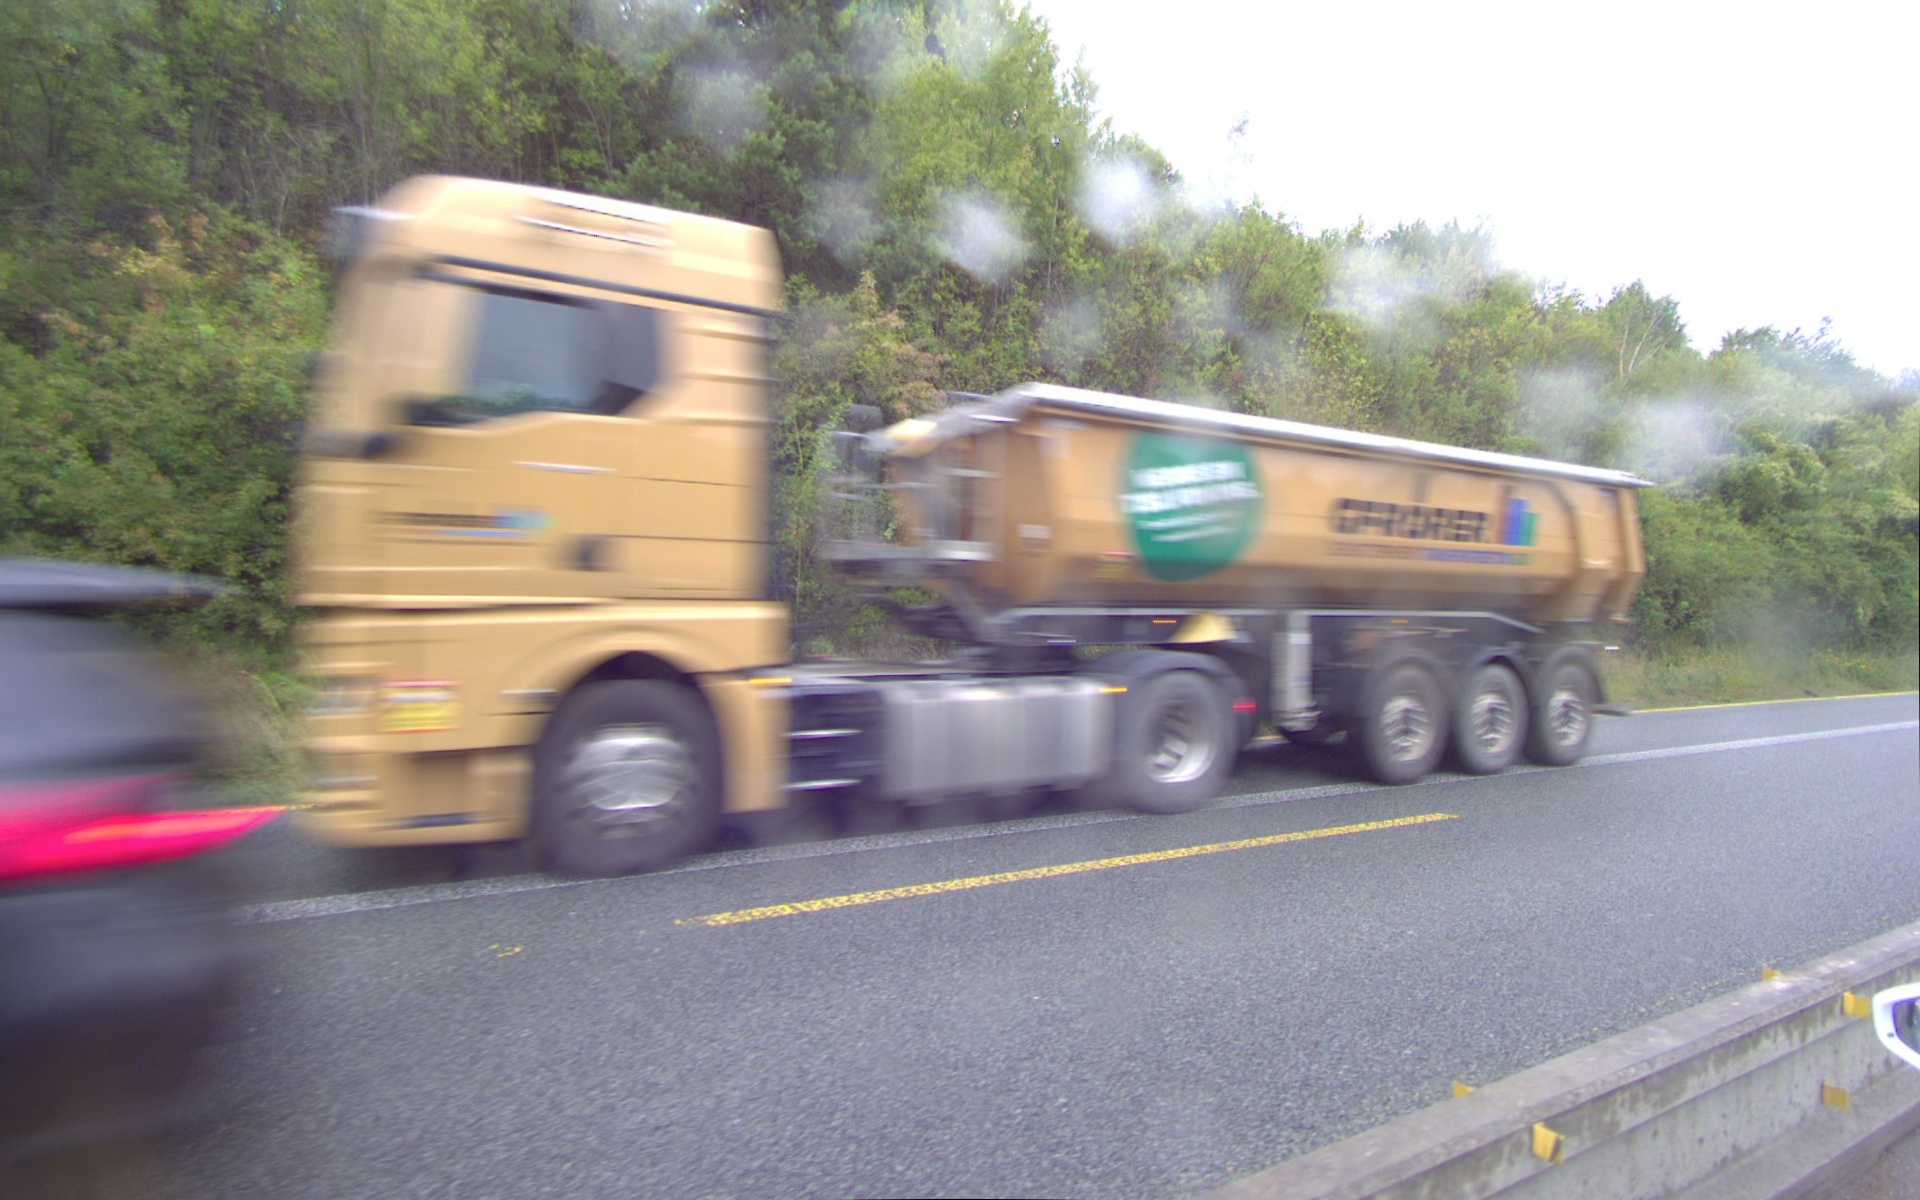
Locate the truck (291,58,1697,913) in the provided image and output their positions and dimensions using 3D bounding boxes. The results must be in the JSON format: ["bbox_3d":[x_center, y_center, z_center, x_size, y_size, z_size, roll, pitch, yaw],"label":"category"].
[{"bbox_3d":[1.751,-0.336,8.588,12.167,3.705,2.669,2,0,-30],"label":"truck"}]

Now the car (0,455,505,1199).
[{"bbox_3d":[-3.148,0.538,1.795,4.072,1.628,1.926,2,0,-30],"label":"car"}]
